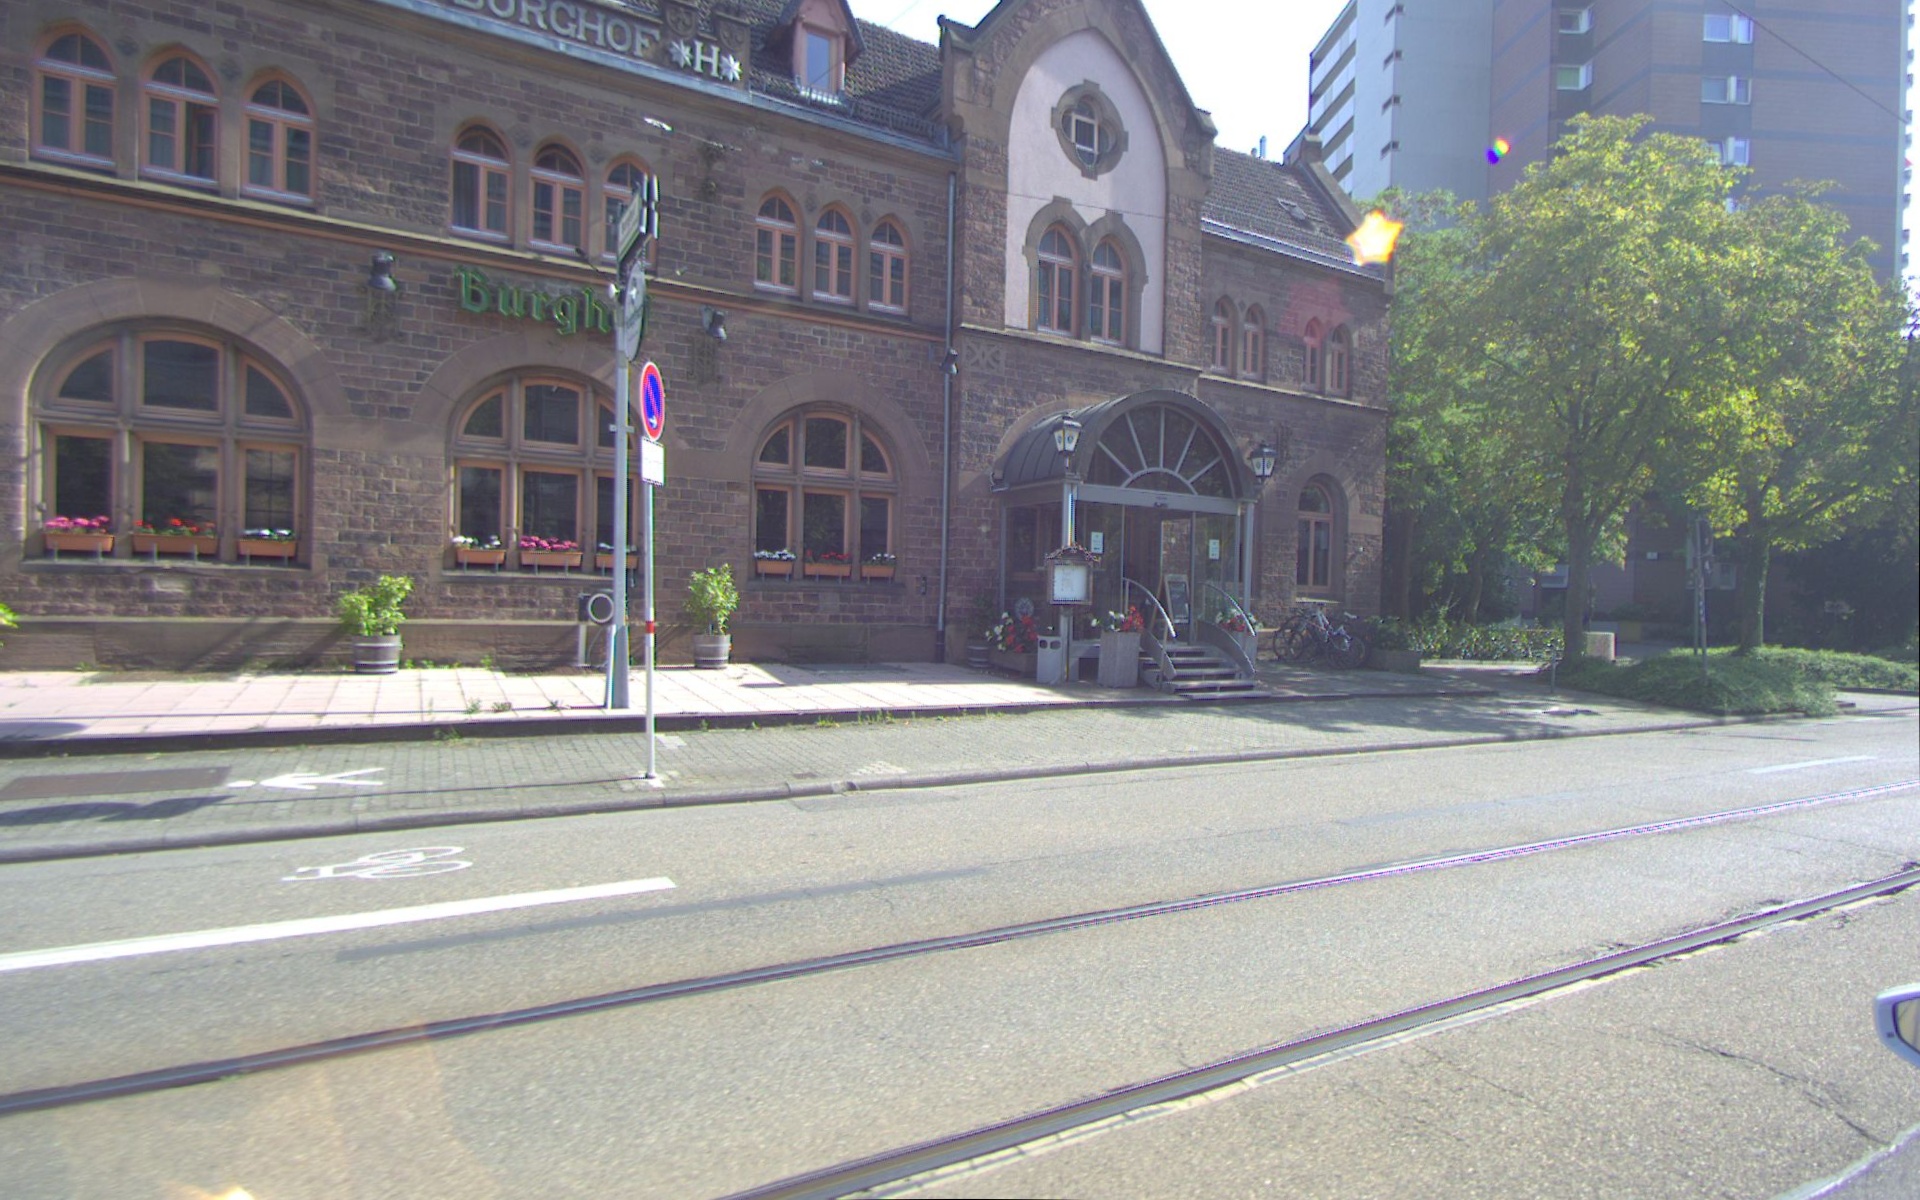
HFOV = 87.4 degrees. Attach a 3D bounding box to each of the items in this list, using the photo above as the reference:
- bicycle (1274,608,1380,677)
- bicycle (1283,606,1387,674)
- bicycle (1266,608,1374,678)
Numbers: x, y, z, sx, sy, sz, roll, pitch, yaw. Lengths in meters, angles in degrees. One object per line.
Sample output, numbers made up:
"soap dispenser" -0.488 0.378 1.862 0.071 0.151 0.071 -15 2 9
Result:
"bicycle" 6.977 0.791 19.174 1.780 1.088 0.419 7 4 39
"bicycle" 7.268 0.758 19.535 1.780 1.088 0.419 7 4 39
"bicycle" 6.703 0.782 18.792 1.780 1.088 0.419 7 4 39
